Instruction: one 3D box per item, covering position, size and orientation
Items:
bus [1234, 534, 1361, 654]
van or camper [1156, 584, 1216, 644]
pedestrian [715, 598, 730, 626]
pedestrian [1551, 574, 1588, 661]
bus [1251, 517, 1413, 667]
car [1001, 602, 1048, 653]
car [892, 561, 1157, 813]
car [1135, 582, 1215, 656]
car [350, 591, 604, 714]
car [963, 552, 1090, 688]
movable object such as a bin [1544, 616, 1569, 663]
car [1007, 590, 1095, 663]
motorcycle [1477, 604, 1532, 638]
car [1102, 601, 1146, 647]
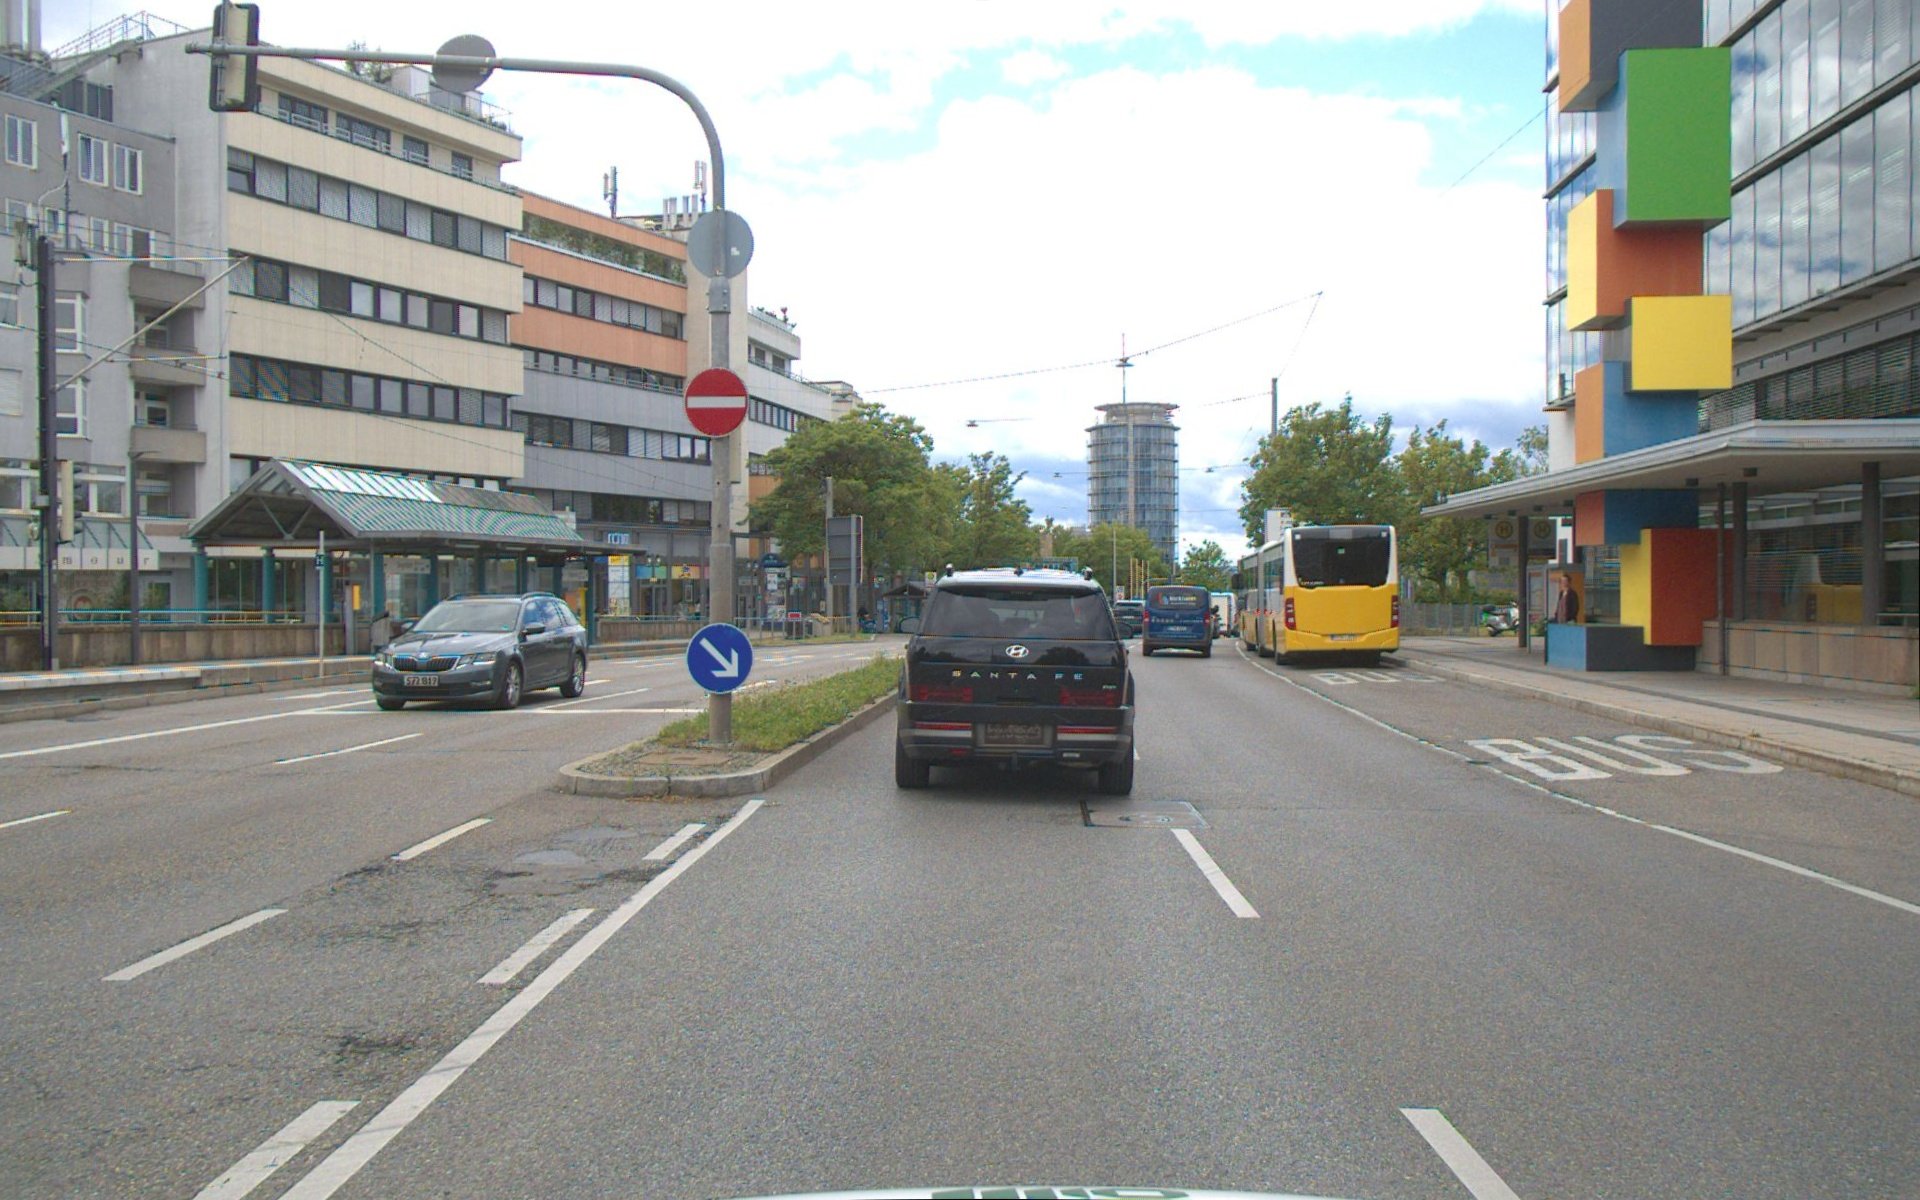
[{"bbox_3d":[9.969,-0.153,49.820,2.889,3.166,9.983,-1,0,7],"label":"bus"},{"bbox_3d":[7.925,0.457,58.359,1.951,1.951,4.413,1,2,6],"label":"van or camper"},{"bbox_3d":[-14.218,0.718,98.959,0.716,1.702,0.581,0,0,26],"label":"pedestrian"},{"bbox_3d":[12.148,0.348,32.978,0.513,1.702,0.733,0,0,6],"label":"pedestrian"},{"bbox_3d":[8.828,-0.172,40.310,2.903,3.171,9.251,-1,0,7],"label":"bus"},{"bbox_3d":[2.808,1.150,71.042,1.862,1.963,4.712,1,1,4],"label":"car"},{"bbox_3d":[0.457,0.585,14.053,1.863,1.761,4.446,1,1,0],"label":"car"},{"bbox_3d":[5.886,0.473,45.785,1.862,1.891,4.712,1,1,4],"label":"car"},{"bbox_3d":[-6.347,0.633,22.332,1.760,1.480,4.615,0,0,4],"label":"car"},{"bbox_3d":[1.087,0.266,27.216,1.862,2.003,4.637,1,1,2],"label":"car"},{"bbox_3d":[11.685,0.774,32.398,0.348,0.913,0.462,0,0,6],"label":"movable object such as a bin"},{"bbox_3d":[2.150,0.595,40.174,1.863,1.569,4.709,1,1,0],"label":"car"},{"bbox_3d":[18.268,0.699,55.554,0.627,1.089,1.759,0,0,-33],"label":"motorcycle"},{"bbox_3d":[7.293,1.039,73.636,1.862,1.891,4.713,1,1,6],"label":"car"}]
